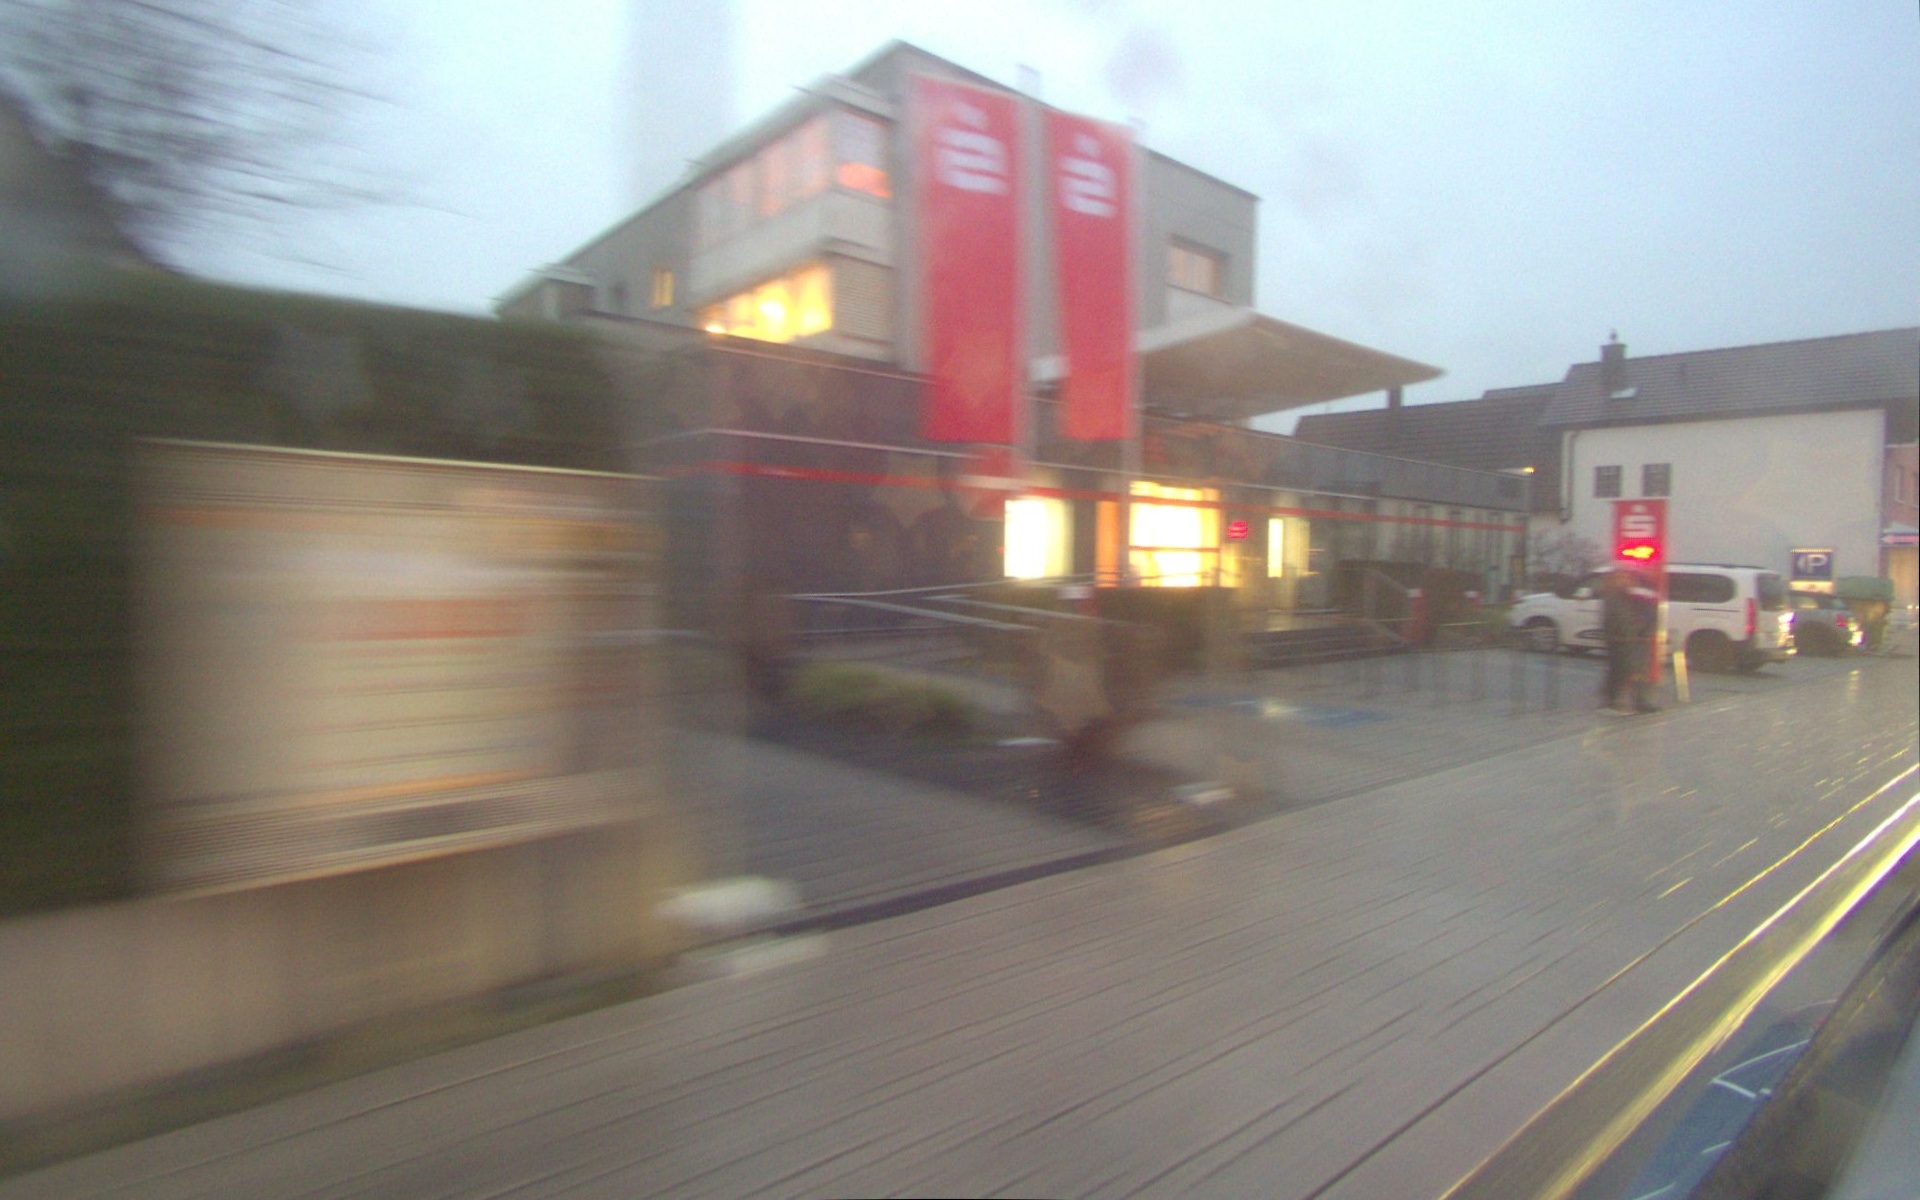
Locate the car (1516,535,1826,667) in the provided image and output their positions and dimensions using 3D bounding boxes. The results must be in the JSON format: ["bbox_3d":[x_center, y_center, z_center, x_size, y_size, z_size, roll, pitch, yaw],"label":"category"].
[{"bbox_3d":[12.784,-0.090,18.465,1.961,2.074,4.109,0,3,-32],"label":"car"}]

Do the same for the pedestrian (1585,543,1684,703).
[{"bbox_3d":[7.706,0.230,11.554,0.900,1.726,0.704,-1,3,-44],"label":"pedestrian"}]

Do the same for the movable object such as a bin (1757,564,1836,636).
[{"bbox_3d":[20.777,-0.020,25.139,1.165,1.664,1.287,0,4,-44],"label":"movable object such as a bin"}]

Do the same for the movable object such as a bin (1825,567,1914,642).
[{"bbox_3d":[21.640,0.093,24.082,1.240,1.664,1.395,0,3,-44],"label":"movable object such as a bin"}]

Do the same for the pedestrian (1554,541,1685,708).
[{"bbox_3d":[7.207,0.237,11.078,0.828,1.726,0.840,0,3,-30],"label":"pedestrian"}]

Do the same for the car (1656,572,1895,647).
[{"bbox_3d":[18.852,0.139,23.554,1.878,1.504,3.998,-1,3,-38],"label":"car"}]
